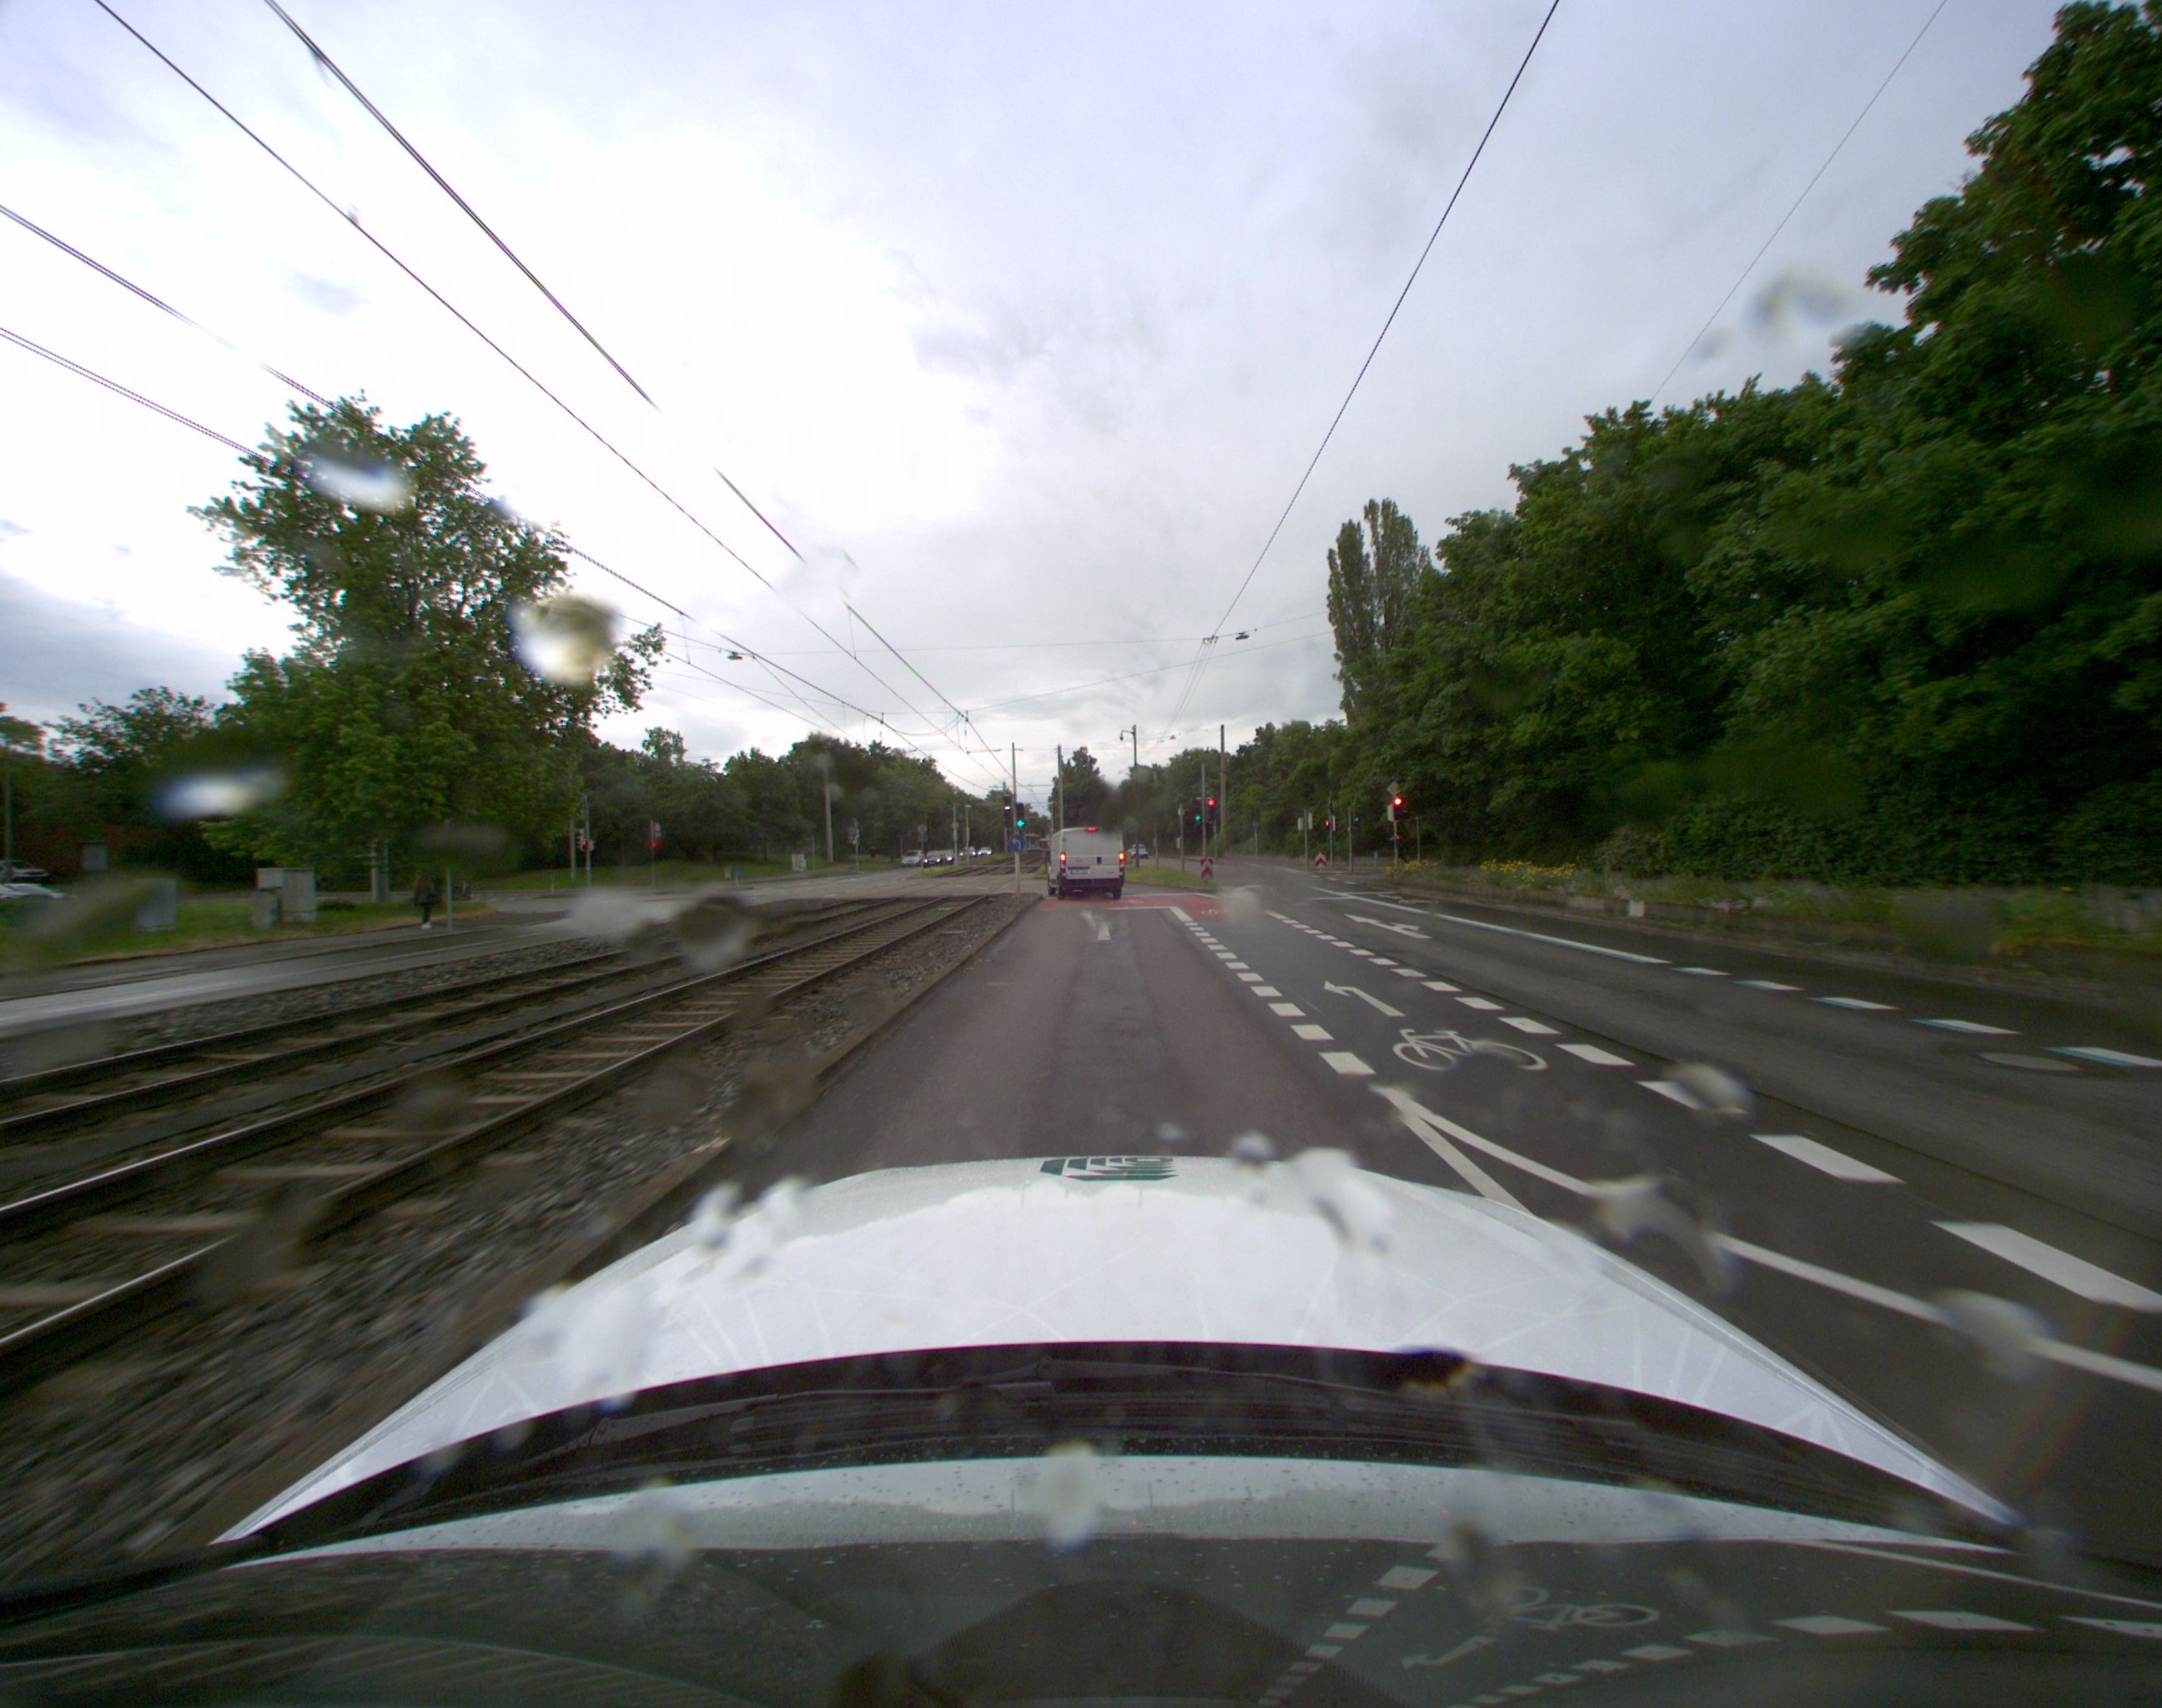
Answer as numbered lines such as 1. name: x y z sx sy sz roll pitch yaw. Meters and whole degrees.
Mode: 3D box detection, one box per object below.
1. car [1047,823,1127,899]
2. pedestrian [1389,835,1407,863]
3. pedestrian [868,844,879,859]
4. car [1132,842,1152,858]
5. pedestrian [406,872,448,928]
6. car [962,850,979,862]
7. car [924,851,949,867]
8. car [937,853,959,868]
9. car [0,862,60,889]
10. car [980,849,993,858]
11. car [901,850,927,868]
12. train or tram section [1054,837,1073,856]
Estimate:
1. car: 0.078 0.184 27.413 2.143 2.283 5.053 -1 1 -6
2. pedestrian: 18.390 -0.305 47.266 0.804 1.607 0.683 0 -2 2
3. pedestrian: -22.929 -0.297 89.989 1.012 1.600 1.038 -2 0 -6
4. car: 6.253 -0.427 83.539 1.698 1.521 3.791 0 1 -1
5. pedestrian: -18.298 1.287 22.788 0.589 1.532 0.668 0 -2 0
6. car: -13.663 0.243 100.913 1.596 1.401 3.790 0 1 -1
7. car: -13.013 0.437 73.615 1.596 1.401 3.790 0 1 -1
8. car: -12.807 0.593 78.664 1.596 1.401 3.790 0 1 -1
9. car: -74.435 1.495 56.122 5.121 1.805 1.996 0 -2 -5
10. car: -14.440 -0.099 124.042 1.596 1.401 3.790 0 1 -1
11. car: -16.405 0.465 79.954 1.714 1.553 3.861 -4 1 -1
12. train or tram section: -4.085 -1.786 195.594 4.046 3.895 15.037 0 -2 1
